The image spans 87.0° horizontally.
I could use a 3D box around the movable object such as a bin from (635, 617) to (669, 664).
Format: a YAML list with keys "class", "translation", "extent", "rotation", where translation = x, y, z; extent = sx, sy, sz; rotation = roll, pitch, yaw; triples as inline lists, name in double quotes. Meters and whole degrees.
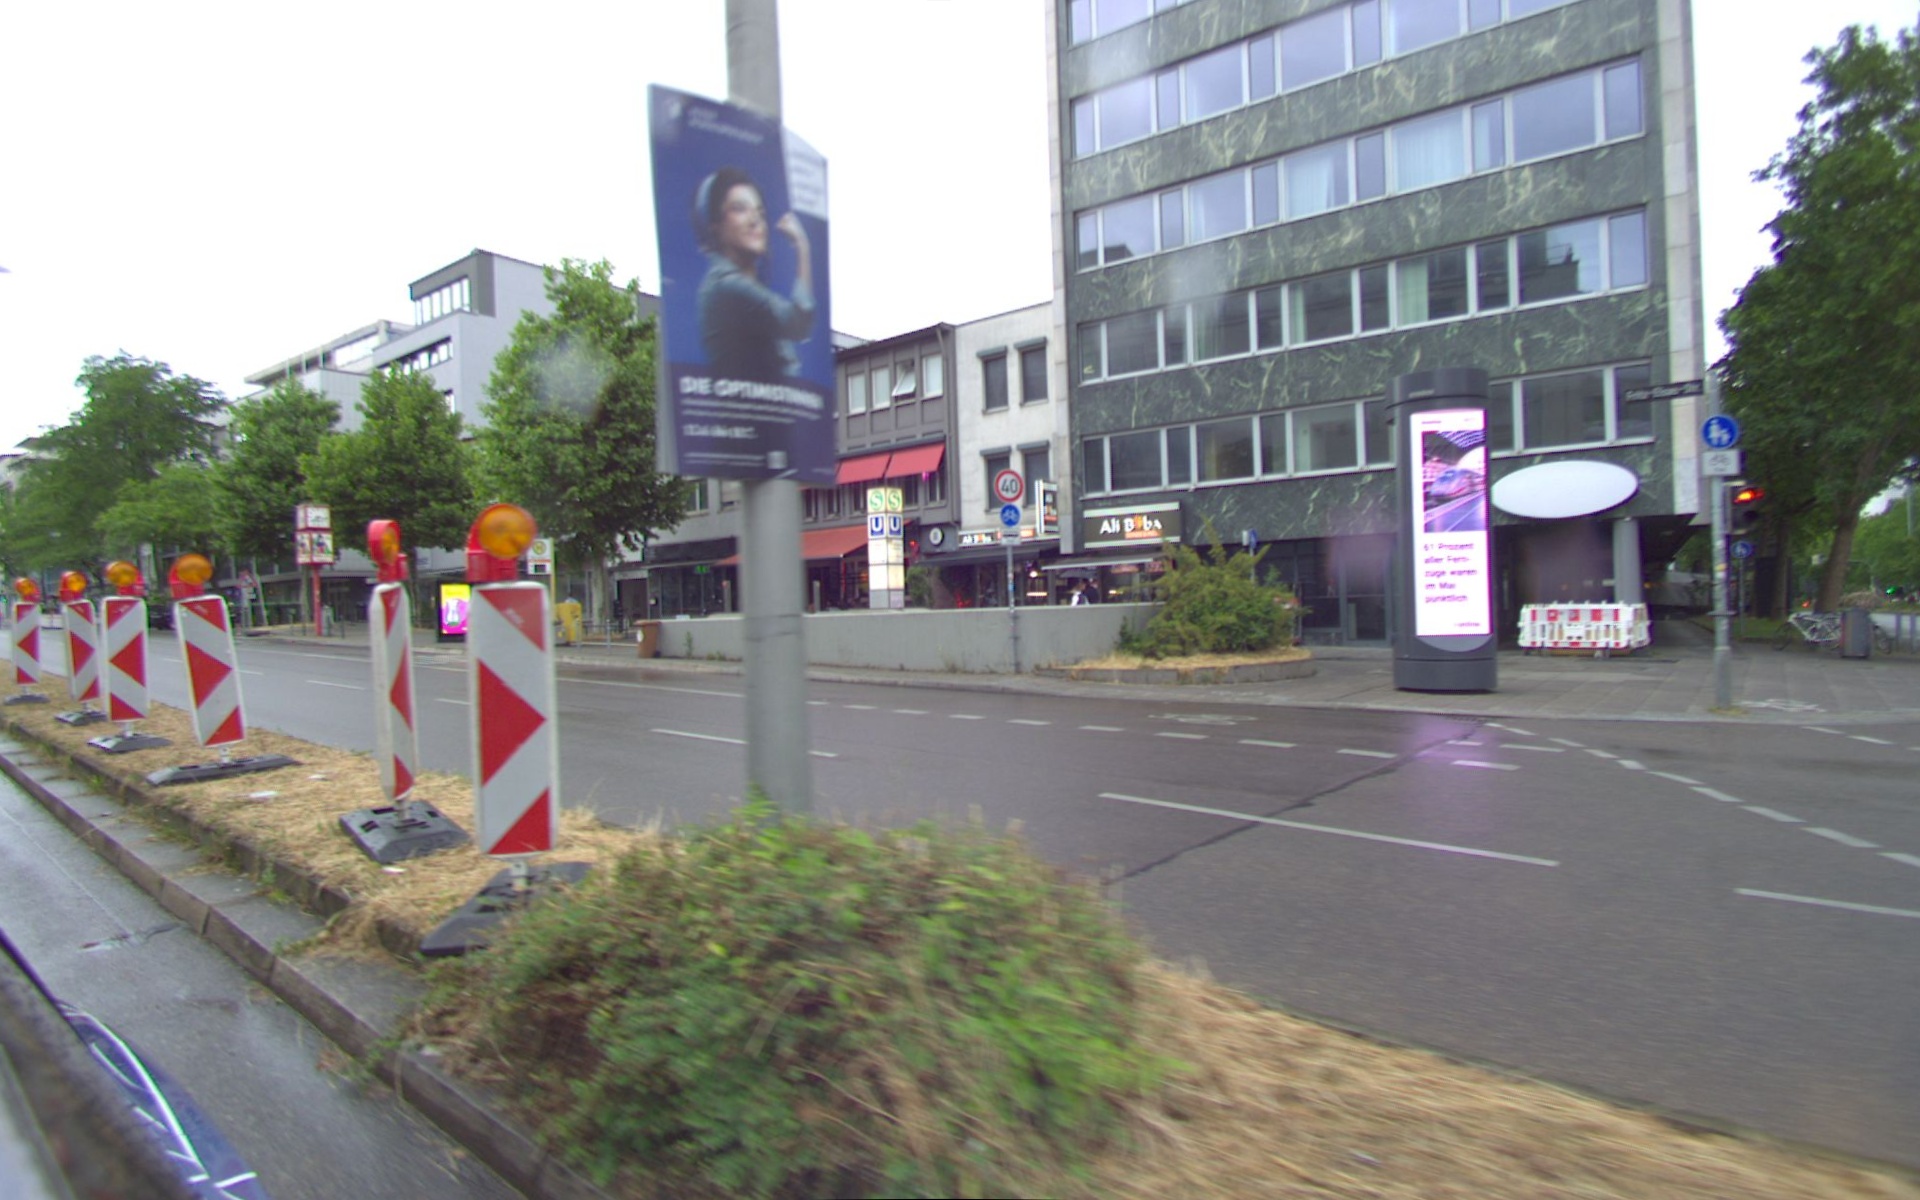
- class: "movable object such as a bin"
  translation: [-7.533, 0.973, 24.731]
  extent: [0.660, 1.109, 0.501]
  rotation: [0, 0, 39]

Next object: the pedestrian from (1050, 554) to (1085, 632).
- class: "pedestrian"
  translation: [2.819, -0.184, 26.624]
  extent: [0.588, 2.029, 0.730]
  rotation: [0, -1, -29]

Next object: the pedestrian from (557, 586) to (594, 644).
- class: "pedestrian"
  translation: [-13.782, 0.535, 36.275]
  extent: [0.943, 2.029, 0.910]
  rotation: [0, 0, 41]

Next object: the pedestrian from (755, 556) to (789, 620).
- class: "pedestrian"
  translation: [-5.482, -0.355, 29.545]
  extent: [0.789, 1.837, 0.605]
  rotation: [0, 0, 29]

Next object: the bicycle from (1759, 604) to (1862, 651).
- class: "bicycle"
  translation: [19.833, 0.637, 23.643]
  extent: [1.780, 1.060, 0.579]
  rotation: [-1, -1, 37]

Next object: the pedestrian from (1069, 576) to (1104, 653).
- class: "pedestrian"
  translation: [3.356, 0.379, 26.925]
  extent: [0.588, 2.029, 0.730]
  rotation: [0, -1, -29]

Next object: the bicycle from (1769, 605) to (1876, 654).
- class: "bicycle"
  translation: [19.337, 0.644, 22.736]
  extent: [1.780, 1.060, 0.579]
  rotation: [-1, -1, 37]

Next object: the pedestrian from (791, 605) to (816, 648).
- class: "pedestrian"
  translation: [-5.659, 0.950, 36.688]
  extent: [0.611, 1.540, 0.660]
  rotation: [-1, -1, 44]

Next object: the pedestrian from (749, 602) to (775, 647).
- class: "pedestrian"
  translation: [-6.953, 0.851, 35.567]
  extent: [0.611, 1.540, 0.660]
  rotation: [-1, -1, 44]

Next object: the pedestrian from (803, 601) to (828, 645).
- class: "pedestrian"
  translation: [-5.177, 0.824, 36.294]
  extent: [0.611, 1.540, 0.660]
  rotation: [-1, -1, 44]
